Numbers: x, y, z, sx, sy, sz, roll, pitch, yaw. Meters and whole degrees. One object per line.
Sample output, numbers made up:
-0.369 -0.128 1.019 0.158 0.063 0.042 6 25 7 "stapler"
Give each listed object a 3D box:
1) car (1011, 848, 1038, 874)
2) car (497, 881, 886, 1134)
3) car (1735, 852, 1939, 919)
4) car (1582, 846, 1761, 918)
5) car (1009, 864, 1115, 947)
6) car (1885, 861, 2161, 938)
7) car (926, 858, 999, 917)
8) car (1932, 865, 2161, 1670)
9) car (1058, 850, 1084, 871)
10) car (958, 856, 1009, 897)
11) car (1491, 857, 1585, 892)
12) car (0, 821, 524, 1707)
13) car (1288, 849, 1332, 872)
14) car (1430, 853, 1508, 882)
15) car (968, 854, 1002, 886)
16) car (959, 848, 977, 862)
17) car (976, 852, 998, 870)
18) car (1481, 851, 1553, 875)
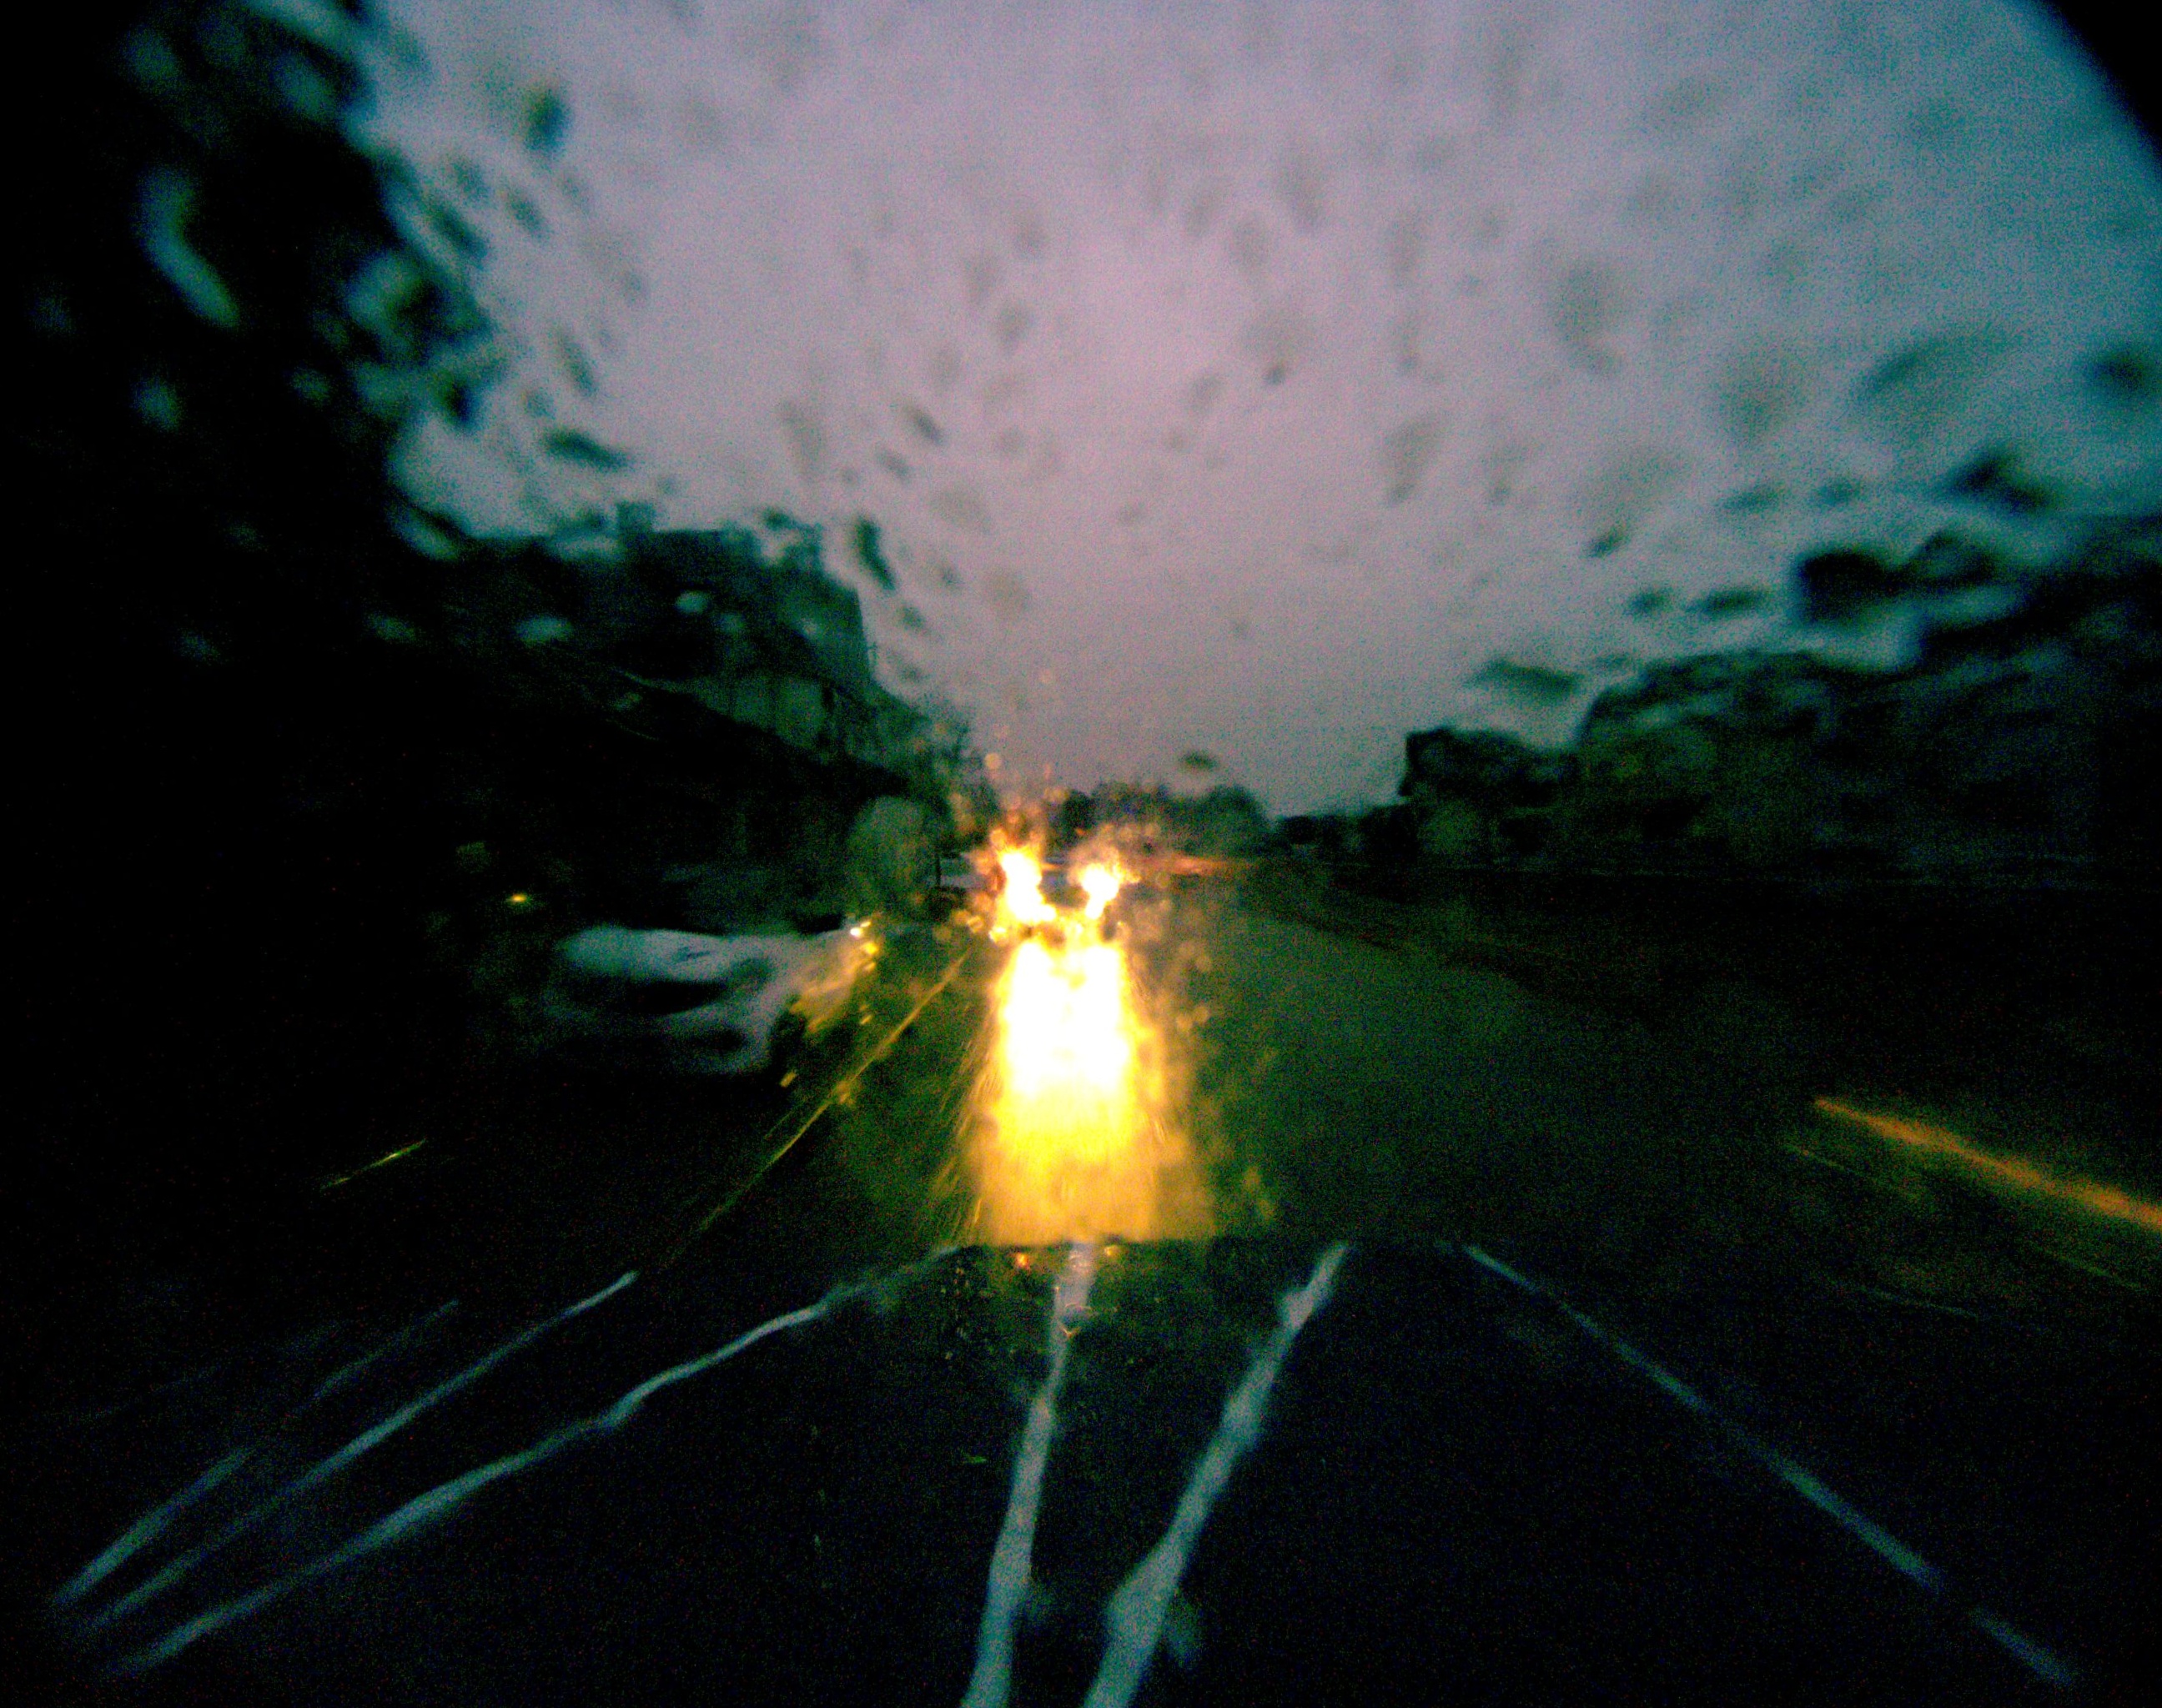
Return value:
-4.598 0.590 61.119 1.907 1.629 4.568 -5 -4 -6 "car"
-2.733 0.991 6.016 1.649 1.407 2.727 2 0 -1 "car"
21.552 0.827 21.930 1.863 1.672 3.999 -2 1 -1 "car"
16.198 0.693 21.124 1.804 1.793 3.859 0 1 -4 "car"
-0.509 1.013 16.662 1.999 1.525 3.999 -2 -1 -4 "car"
21.874 0.962 17.798 1.773 1.515 4.031 0 1 -1 "car"
-3.343 0.907 22.106 1.657 1.446 4.236 2 0 -4 "car"
3.044 0.838 0.192 1.667 1.626 3.550 -1 0 -1 "car"
-0.809 0.466 59.114 1.737 1.527 3.779 -2 1 -3 "car"
-4.148 0.894 32.759 1.962 1.524 5.006 -2 1 -6 "car"
21.115 0.910 35.319 1.881 1.496 4.143 -1 0 -1 "car"
-2.616 0.822 0.202 1.773 1.771 4.001 3 0 3 "car"
20.114 0.562 67.004 2.000 1.894 4.354 -3 1 -7 "car"
20.724 0.680 40.826 1.881 1.434 4.648 -1 0 0 "car"
-4.948 0.779 39.573 1.669 1.566 4.494 0 0 -6 "car"
-15.151 0.150 102.089 1.918 1.780 4.560 0 0 -14 "car"
-8.354 0.589 67.412 1.813 1.555 4.301 0 0 -7 "car"
30.696 0.630 53.626 4.033 1.515 1.815 -2 1 16 "car"
